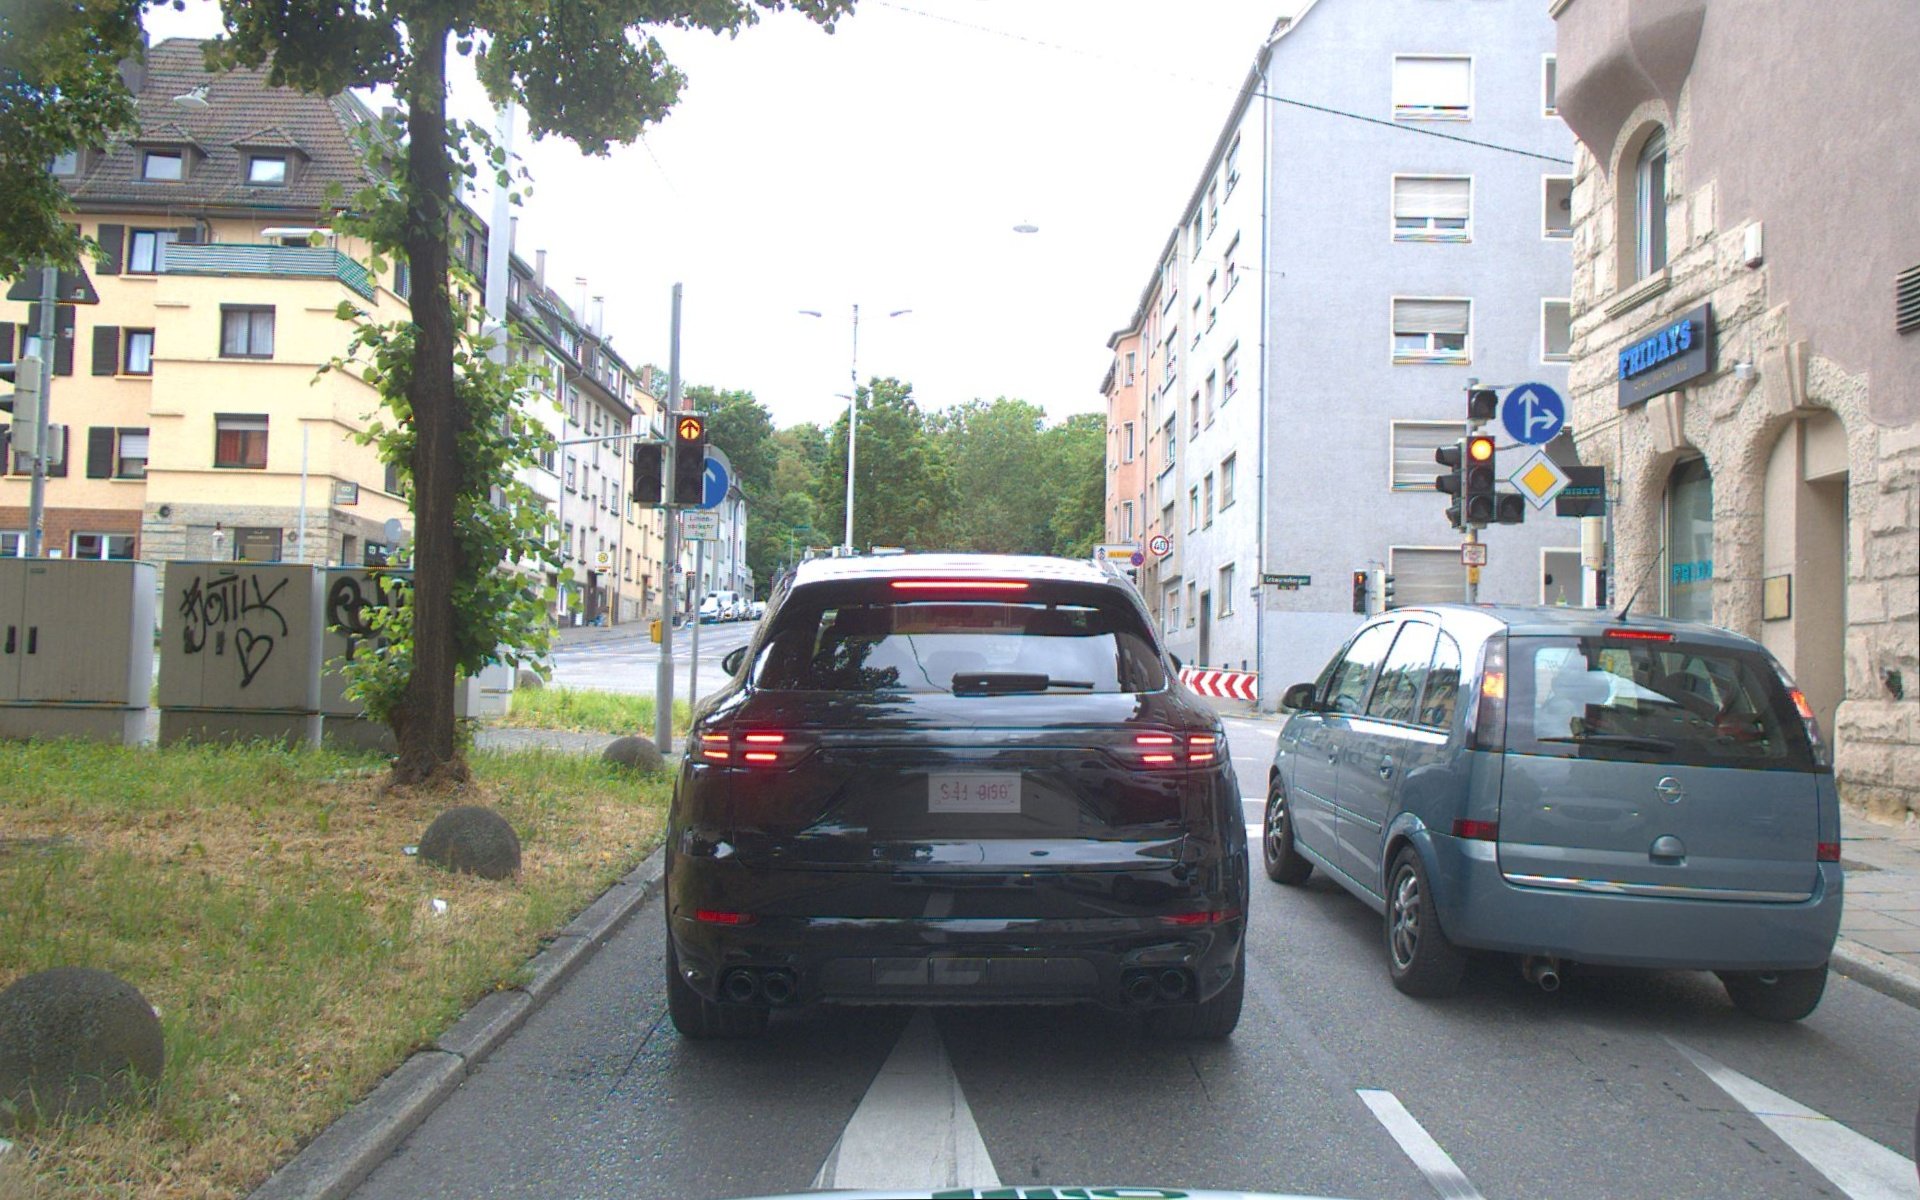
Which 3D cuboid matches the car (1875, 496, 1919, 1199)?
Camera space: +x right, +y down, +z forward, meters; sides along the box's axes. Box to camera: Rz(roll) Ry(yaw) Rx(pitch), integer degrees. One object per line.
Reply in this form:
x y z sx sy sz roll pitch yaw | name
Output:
2.917 0.644 1.000 1.936 1.806 4.674 4 0 -2 | car

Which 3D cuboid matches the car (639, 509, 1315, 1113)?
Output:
0.026 0.609 6.699 1.916 1.704 3.999 0 0 -1 | car

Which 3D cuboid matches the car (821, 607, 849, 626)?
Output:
-9.397 1.233 124.821 1.824 1.412 4.094 1 0 0 | car

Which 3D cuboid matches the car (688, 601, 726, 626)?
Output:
-15.084 0.813 98.807 1.703 1.411 3.813 1 0 0 | car

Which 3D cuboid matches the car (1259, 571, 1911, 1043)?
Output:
2.631 0.768 7.903 1.596 1.625 3.668 4 0 -1 | car

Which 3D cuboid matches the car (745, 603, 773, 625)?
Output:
-15.157 1.047 124.718 1.655 1.565 3.813 1 0 0 | car

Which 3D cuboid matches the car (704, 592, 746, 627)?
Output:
-14.725 0.599 103.938 1.975 2.081 4.666 1 0 0 | car
